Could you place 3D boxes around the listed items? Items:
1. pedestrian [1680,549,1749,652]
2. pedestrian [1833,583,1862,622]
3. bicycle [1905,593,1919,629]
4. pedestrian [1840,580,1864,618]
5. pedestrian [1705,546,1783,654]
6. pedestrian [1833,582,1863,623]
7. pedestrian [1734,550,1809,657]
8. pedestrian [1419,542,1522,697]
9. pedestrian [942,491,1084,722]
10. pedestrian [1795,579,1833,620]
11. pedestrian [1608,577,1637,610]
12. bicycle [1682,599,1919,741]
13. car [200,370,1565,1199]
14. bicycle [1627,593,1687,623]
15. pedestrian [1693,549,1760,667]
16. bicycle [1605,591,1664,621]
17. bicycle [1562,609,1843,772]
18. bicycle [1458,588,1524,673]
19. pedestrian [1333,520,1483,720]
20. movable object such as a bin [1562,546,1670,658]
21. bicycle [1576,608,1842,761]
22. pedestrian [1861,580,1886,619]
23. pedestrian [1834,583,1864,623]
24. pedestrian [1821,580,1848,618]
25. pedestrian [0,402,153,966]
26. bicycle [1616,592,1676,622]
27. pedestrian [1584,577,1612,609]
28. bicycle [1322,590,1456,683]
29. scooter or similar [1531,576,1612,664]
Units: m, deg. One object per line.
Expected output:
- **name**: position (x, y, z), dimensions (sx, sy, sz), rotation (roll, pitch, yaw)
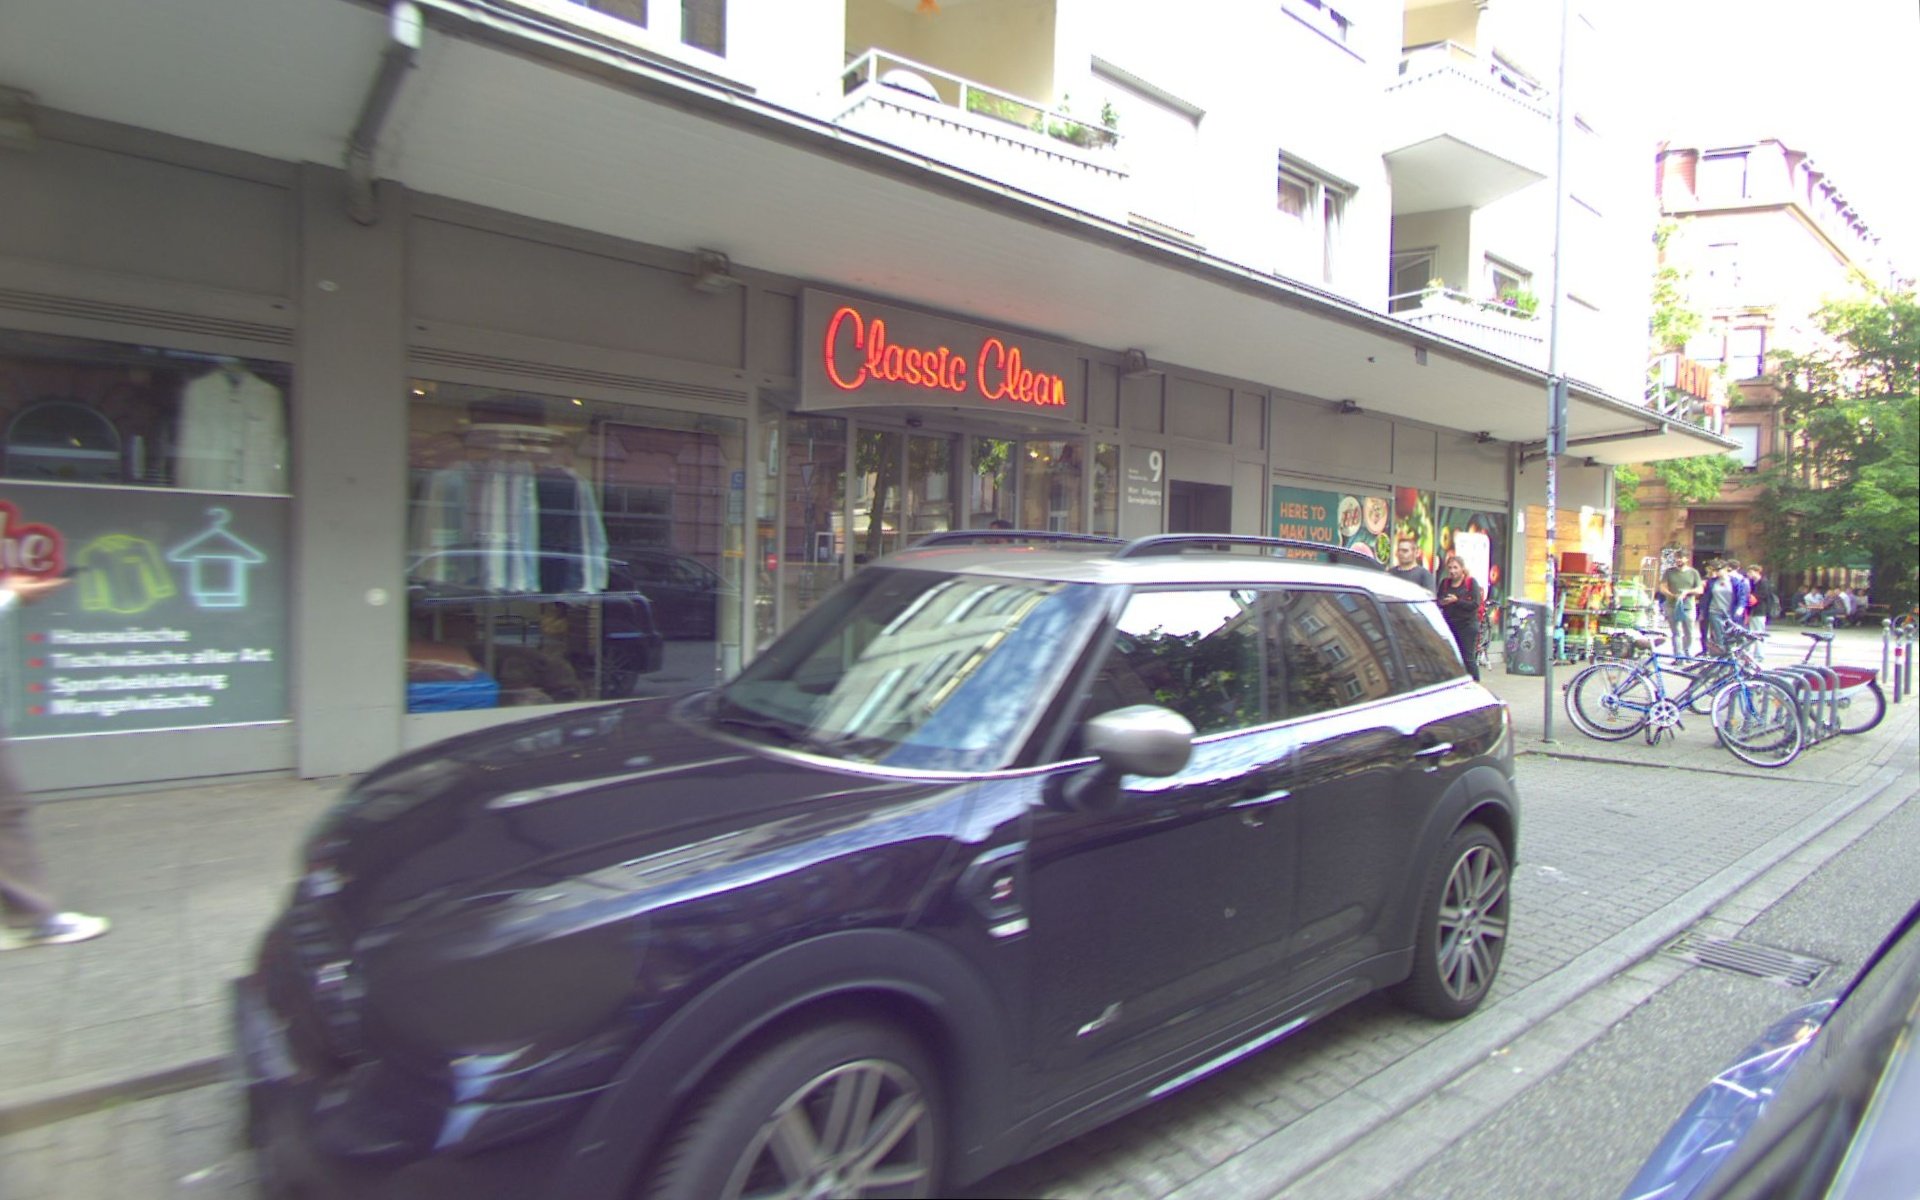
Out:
- **pedestrian**: position (13.902, 0.001, 18.660), dimensions (0.645, 1.818, 0.657), rotation (2, 3, -26)
- **pedestrian**: position (30.474, 0.079, 34.766), dimensions (0.726, 1.332, 0.599), rotation (1, 0, 40)
- **bicycle**: position (29.450, 0.366, 30.108), dimensions (0.671, 1.047, 1.856), rotation (0, 3, -39)
- **pedestrian**: position (32.399, -0.033, 36.776), dimensions (0.462, 1.343, 0.616), rotation (2, 3, 27)
- **pedestrian**: position (13.796, -0.013, 17.826), dimensions (0.620, 1.818, 0.716), rotation (4, 3, -6)
- **pedestrian**: position (29.735, 0.082, 33.893), dimensions (0.726, 1.332, 0.513), rotation (1, 0, 40)
- **pedestrian**: position (14.418, 0.043, 18.003), dimensions (0.705, 1.818, 0.629), rotation (5, 3, 16)
- **pedestrian**: position (5.757, 0.193, 11.429), dimensions (0.700, 1.652, 0.724), rotation (0, 4, -41)
- **pedestrian**: position (0.428, 0.024, 8.262), dimensions (0.803, 1.767, 0.715), rotation (0, 4, -41)
- **pedestrian**: position (29.602, -0.030, 35.079), dimensions (0.656, 1.395, 0.718), rotation (1, 2, -4)
- **pedestrian**: position (26.718, -0.267, 40.822), dimensions (0.753, 1.301, 0.631), rotation (-1, 2, -15)
- **bicycle**: position (8.559, 0.642, 10.184), dimensions (0.891, 1.138, 1.887), rotation (0, 4, -40)
- **car**: position (0.089, 0.499, 3.130), dimensions (3.853, 1.625, 1.797), rotation (0, 2, -39)
- **bicycle**: position (23.196, 0.270, 33.696), dimensions (1.680, 0.981, 0.448), rotation (0, 3, 0)
- **pedestrian**: position (12.019, 0.112, 15.863), dimensions (0.762, 1.775, 0.917), rotation (2, 2, 39)
- **bicycle**: position (23.038, 0.210, 34.580), dimensions (1.680, 0.999, 0.448), rotation (0, 3, 0)
- **bicycle**: position (6.145, 0.692, 8.455), dimensions (1.788, 1.083, 0.578), rotation (6, 3, 42)
- **bicycle**: position (7.446, 0.388, 14.152), dimensions (0.673, 1.055, 1.715), rotation (2, 3, 31)
- **pedestrian**: position (4.283, 0.158, 9.677), dimensions (1.030, 1.767, 0.851), rotation (0, 4, -41)
- **movable object such as a bin**: position (11.091, 0.008, 17.071), dimensions (2.379, 1.766, 0.781), rotation (0, 2, -39)
- **bicycle**: position (6.566, 0.687, 8.941), dimensions (1.788, 1.083, 0.560), rotation (6, 3, 42)
- **pedestrian**: position (32.552, -0.022, 36.076), dimensions (0.462, 1.343, 0.616), rotation (2, 3, 27)
- **pedestrian**: position (30.087, 0.081, 34.262), dimensions (0.726, 1.332, 0.513), rotation (1, 0, 40)
- **pedestrian**: position (31.473, -0.042, 36.427), dimensions (0.543, 1.316, 0.616), rotation (2, 3, 27)
- **pedestrian**: position (-3.299, 0.246, 3.194), dimensions (1.108, 1.746, 0.613), rotation (0, 4, -44)
- **bicycle**: position (23.130, 0.228, 34.147), dimensions (1.680, 0.999, 0.448), rotation (0, 3, 0)
- **pedestrian**: position (26.309, -0.283, 41.733), dimensions (0.753, 1.301, 0.631), rotation (-1, 2, -15)
- **bicycle**: position (5.313, 0.415, 12.499), dimensions (1.751, 1.027, 0.744), rotation (0, 4, -39)
- **scooter or similar**: position (9.229, 0.283, 15.270), dimensions (1.234, 1.227, 0.633), rotation (0, 4, -41)
